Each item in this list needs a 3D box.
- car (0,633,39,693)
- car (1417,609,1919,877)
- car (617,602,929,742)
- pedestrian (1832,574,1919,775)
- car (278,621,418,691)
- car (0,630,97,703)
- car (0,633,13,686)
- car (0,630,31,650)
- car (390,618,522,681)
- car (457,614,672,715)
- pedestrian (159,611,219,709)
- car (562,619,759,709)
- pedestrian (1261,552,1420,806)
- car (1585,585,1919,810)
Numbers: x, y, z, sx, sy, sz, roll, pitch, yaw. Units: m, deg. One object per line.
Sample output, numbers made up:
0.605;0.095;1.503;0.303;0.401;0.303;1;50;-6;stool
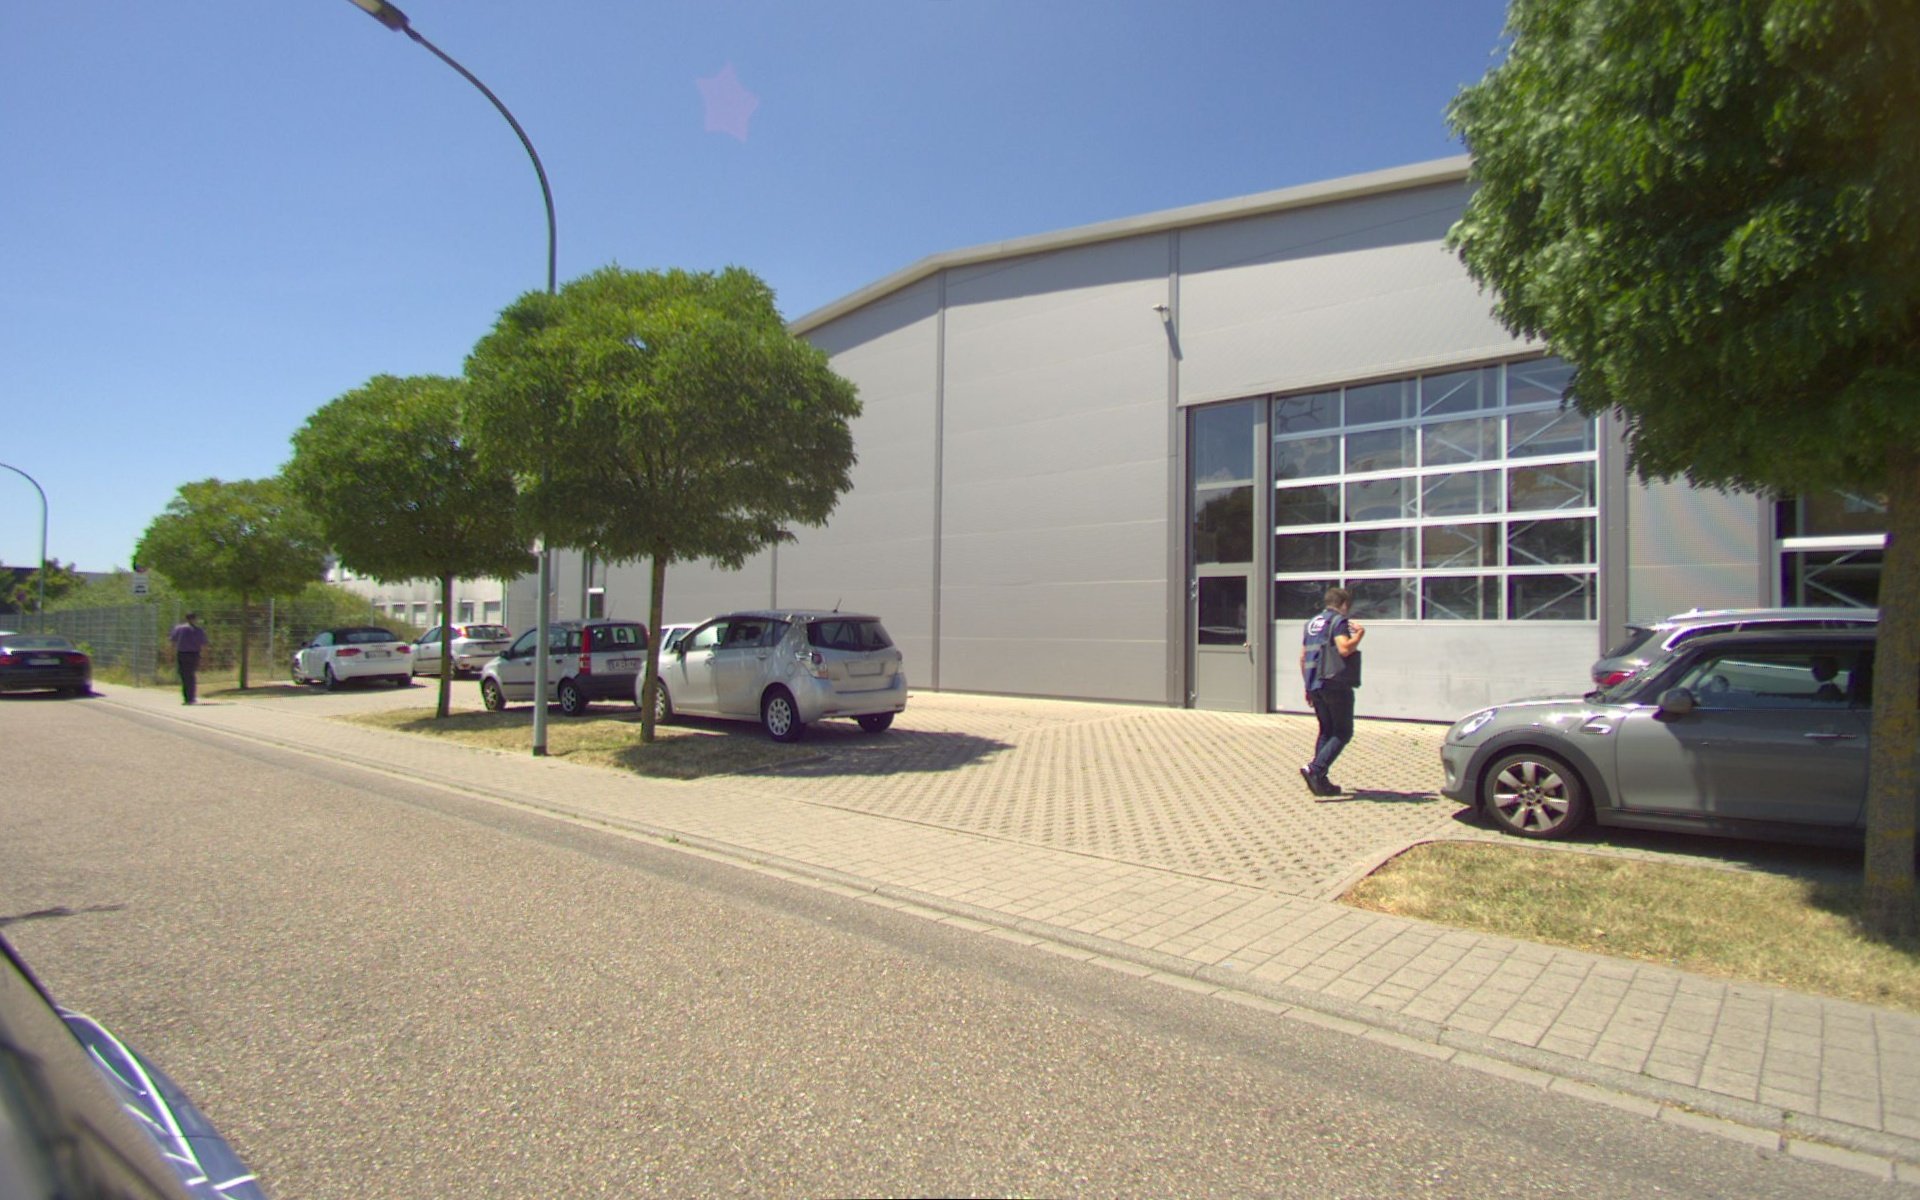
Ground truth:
-25.599;1.602;26.420;4.257;1.511;1.805;-2;-4;42;car
5.313;0.802;6.675;3.839;1.464;1.746;-2;-1;42;car
-2.654;0.867;13.640;4.538;1.585;1.747;-2;-1;42;car
8.435;0.640;9.017;0.964;1.726;0.831;-2;-2;41;pedestrian
-14.865;1.286;24.492;4.328;1.511;1.804;-2;-1;43;car
-21.058;1.439;22.794;4.523;1.511;1.805;-2;-3;41;car
-29.743;1.738;30.149;4.518;1.511;1.805;-2;-4;42;car
-76.965;3.150;80.655;1.779;1.579;4.116;-1;-2;40;car
-13.544;1.279;27.096;4.259;1.511;1.804;-2;-1;43;car
-6.685;1.036;16.987;3.698;1.511;1.667;-2;-3;37;car
-14.967;1.137;19.635;1.135;1.815;0.736;-2;-1;43;pedestrian
-5.624;1.125;18.869;3.698;1.511;1.667;-1;-1;37;car
3.142;0.620;8.447;0.829;1.987;0.966;0;-1;-9;pedestrian
7.616;0.712;7.952;4.347;1.640;1.716;-2;-1;42;car
